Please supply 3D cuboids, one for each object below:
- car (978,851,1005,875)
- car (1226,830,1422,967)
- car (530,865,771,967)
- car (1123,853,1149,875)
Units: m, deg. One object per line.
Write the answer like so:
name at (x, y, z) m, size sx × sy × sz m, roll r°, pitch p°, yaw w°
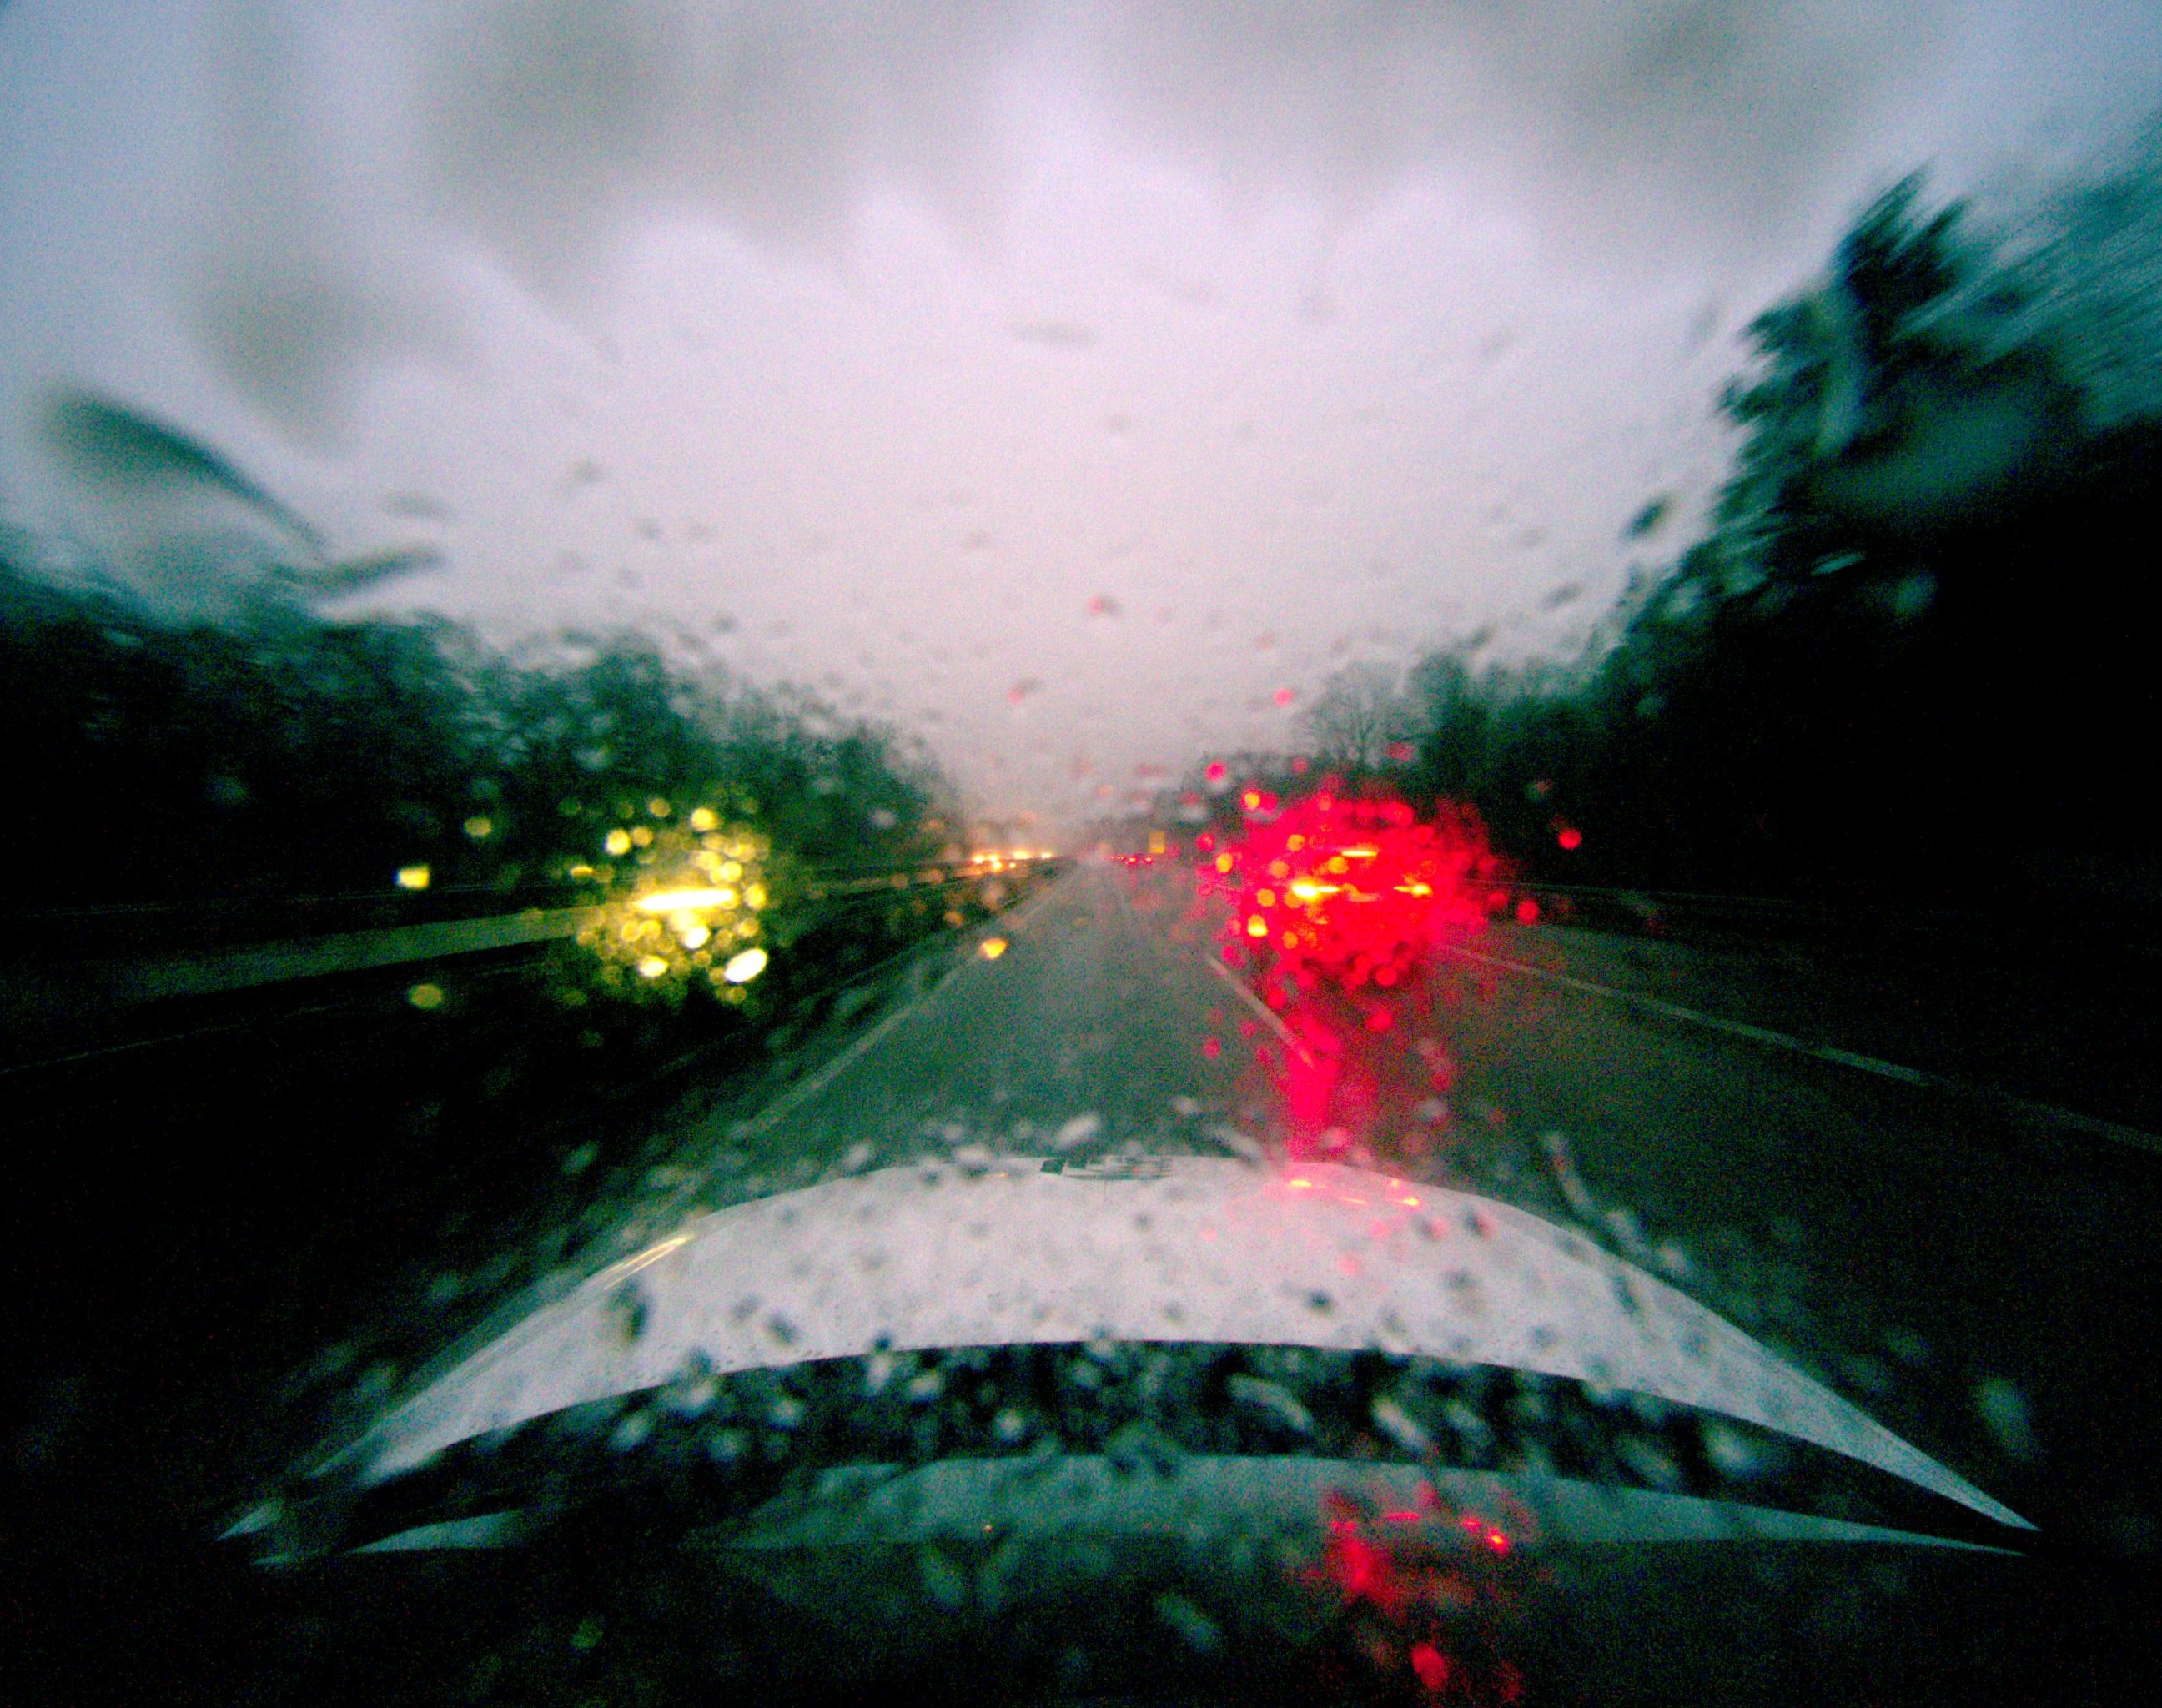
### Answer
car at (-9.087, 0.903, 83.212) m, size 2.024 × 2.316 × 5.462 m, roll -1°, pitch -1°, yaw 1°
car at (3.559, 0.602, 12.721) m, size 1.918 × 1.791 × 3.941 m, roll -1°, pitch -1°, yaw 1°
car at (-6.795, 0.892, 13.409) m, size 1.536 × 1.396 × 4.127 m, roll -1°, pitch -1°, yaw 4°
car at (4.395, 0.775, 65.483) m, size 1.985 × 1.715 × 3.831 m, roll -1°, pitch -1°, yaw 1°
